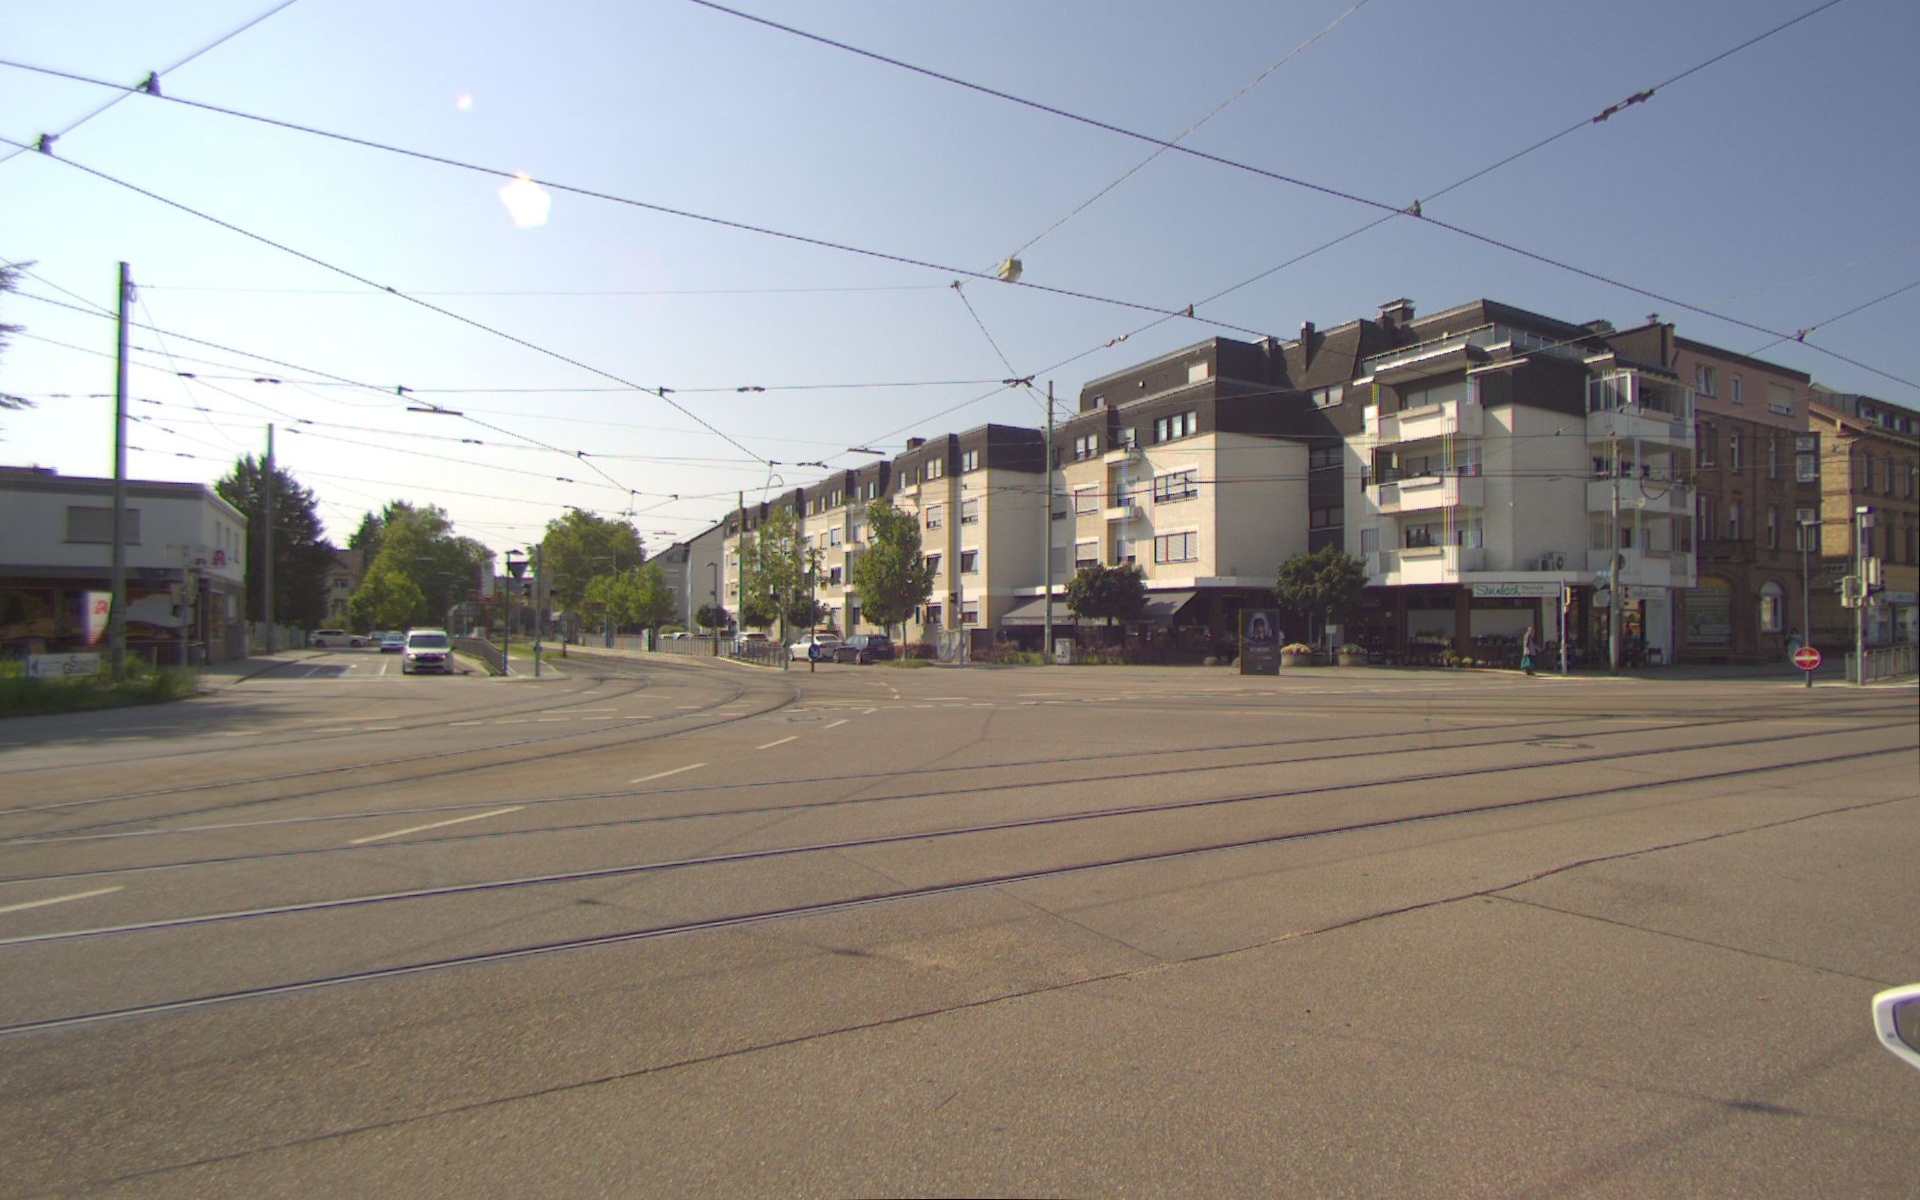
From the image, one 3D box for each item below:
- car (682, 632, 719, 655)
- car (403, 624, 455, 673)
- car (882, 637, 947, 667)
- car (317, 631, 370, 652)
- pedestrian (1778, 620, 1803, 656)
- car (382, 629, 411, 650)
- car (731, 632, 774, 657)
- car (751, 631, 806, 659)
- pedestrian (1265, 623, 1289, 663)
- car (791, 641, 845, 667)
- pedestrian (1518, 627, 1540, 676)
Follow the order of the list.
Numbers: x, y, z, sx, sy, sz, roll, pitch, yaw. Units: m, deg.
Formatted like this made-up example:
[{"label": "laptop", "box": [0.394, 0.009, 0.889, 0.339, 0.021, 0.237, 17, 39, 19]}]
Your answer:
[{"label": "car", "box": [-20.288, 3.420, 78.430, 1.975, 1.674, 3.973, 1, -4, -27]}, {"label": "car", "box": [-21.867, 1.947, 41.407, 1.800, 1.911, 3.998, 1, -1, -27]}, {"label": "car", "box": [-2.514, 2.785, 54.490, 1.907, 1.527, 4.090, 1, -2, -30]}, {"label": "car", "box": [-55.130, 3.731, 89.847, 3.953, 1.795, 1.985, 1, -4, -31]}, {"label": "pedestrian", "box": [37.623, 1.723, 45.513, 0.873, 1.580, 0.482, 2, -1, -19]}, {"label": "car", "box": [-43.606, 3.068, 77.838, 1.704, 1.527, 3.975, 1, -4, -26]}, {"label": "car", "box": [-13.567, 2.936, 65.652, 1.653, 1.500, 3.888, 1, -4, -30]}, {"label": "car", "box": [-10.879, 2.695, 59.842, 1.848, 1.554, 4.350, 1, -4, -31]}, {"label": "pedestrian", "box": [13.960, 1.895, 44.195, 0.689, 1.763, 0.677, 1, -4, -29]}, {"label": "car", "box": [-7.737, 2.936, 54.500, 1.652, 1.316, 4.095, 1, -4, -27]}, {"label": "pedestrian", "box": [20.785, 1.869, 36.708, 0.589, 1.768, 0.565, -2, -3, 27]}]
